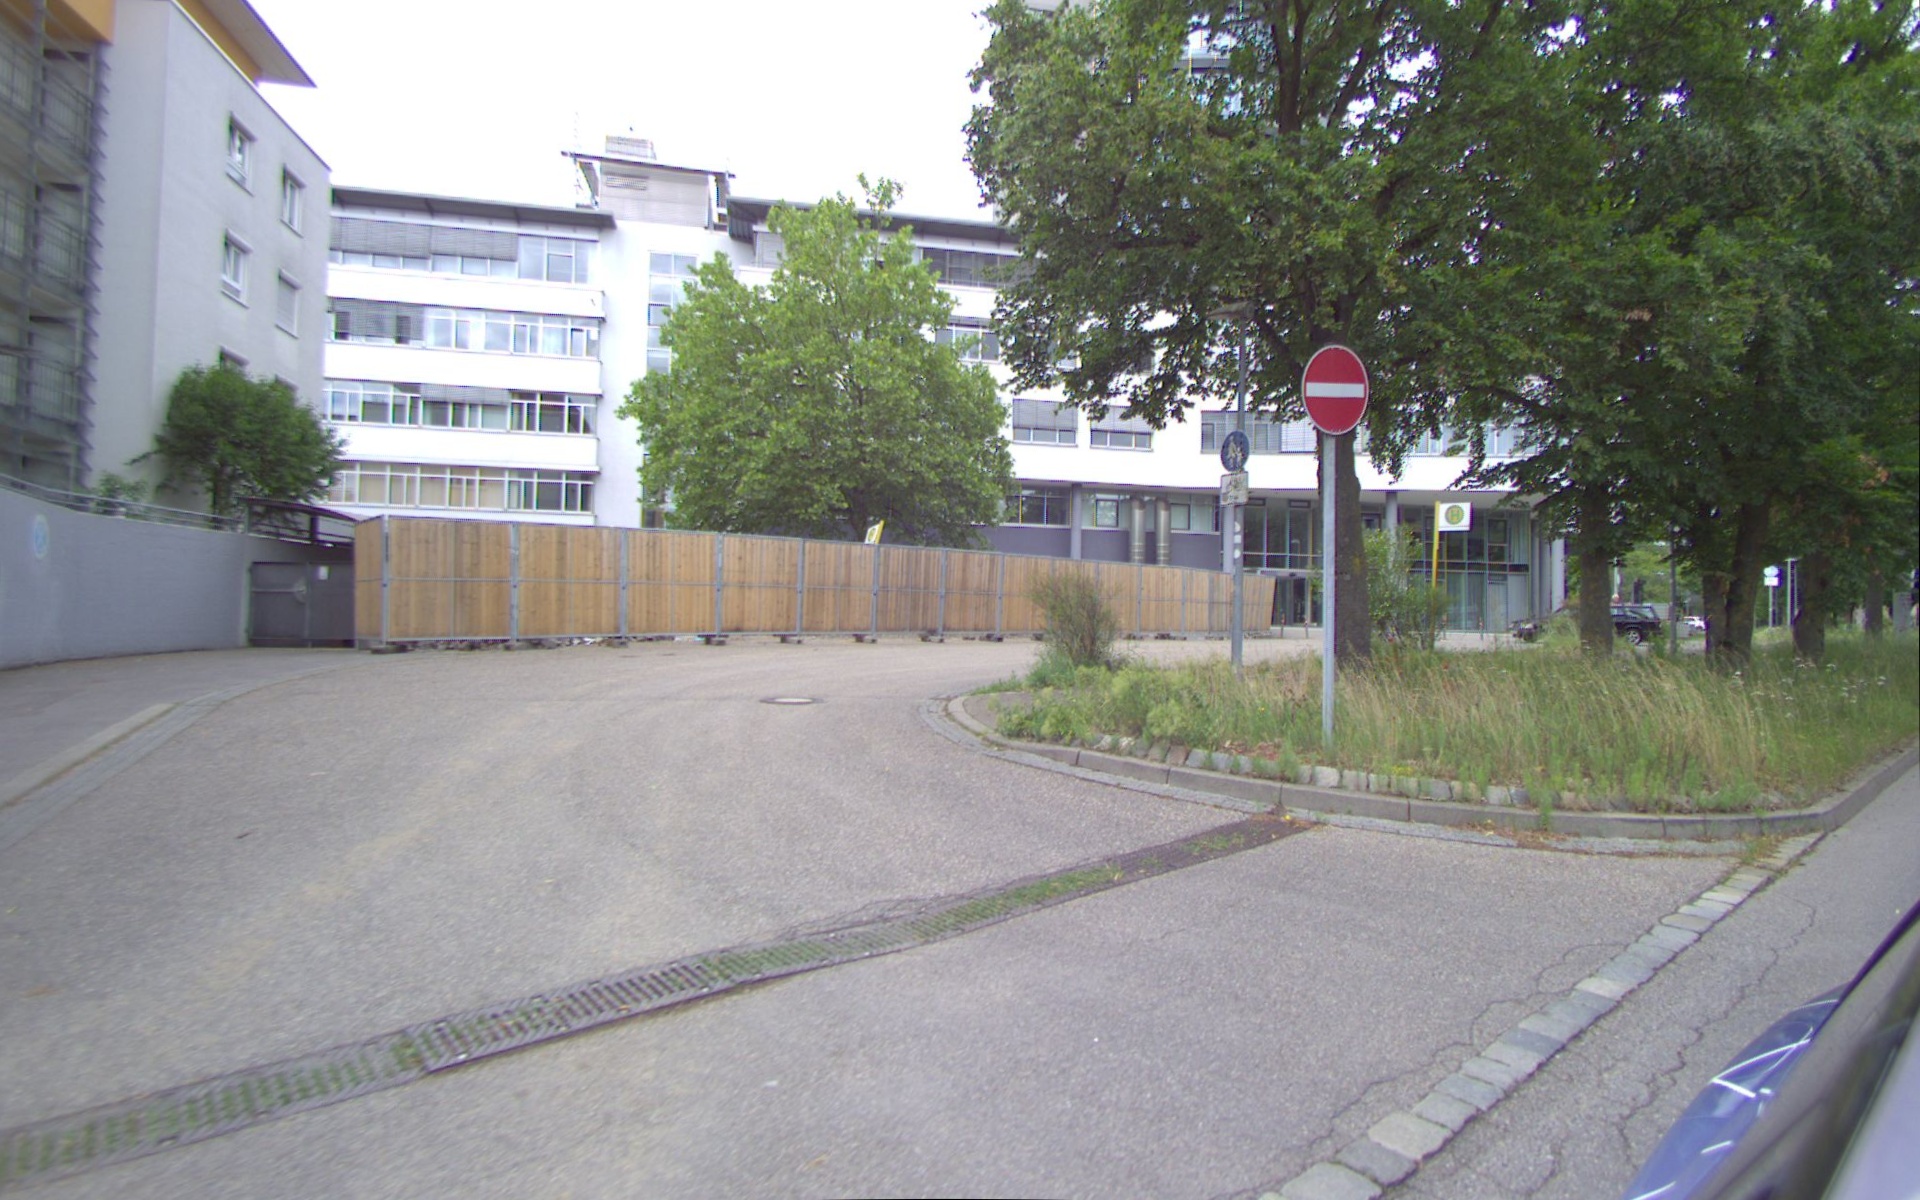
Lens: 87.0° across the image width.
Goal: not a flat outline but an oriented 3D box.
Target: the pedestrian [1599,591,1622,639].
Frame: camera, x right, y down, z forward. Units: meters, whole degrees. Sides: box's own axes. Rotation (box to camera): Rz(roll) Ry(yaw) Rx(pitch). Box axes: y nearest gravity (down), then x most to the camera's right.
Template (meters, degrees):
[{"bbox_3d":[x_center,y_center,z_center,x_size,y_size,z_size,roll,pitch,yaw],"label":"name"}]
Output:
[{"bbox_3d":[23.987,0.558,37.328,0.492,1.747,0.533,4,-2,19],"label":"pedestrian"}]

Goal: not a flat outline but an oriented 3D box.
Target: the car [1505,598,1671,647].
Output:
[{"bbox_3d":[22.448,0.774,36.307,4.659,1.536,1.868,2,0,6],"label":"car"}]

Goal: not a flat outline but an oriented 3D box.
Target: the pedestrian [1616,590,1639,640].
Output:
[{"bbox_3d":[24.605,0.554,37.306,0.469,1.777,0.580,4,-2,19],"label":"pedestrian"}]
